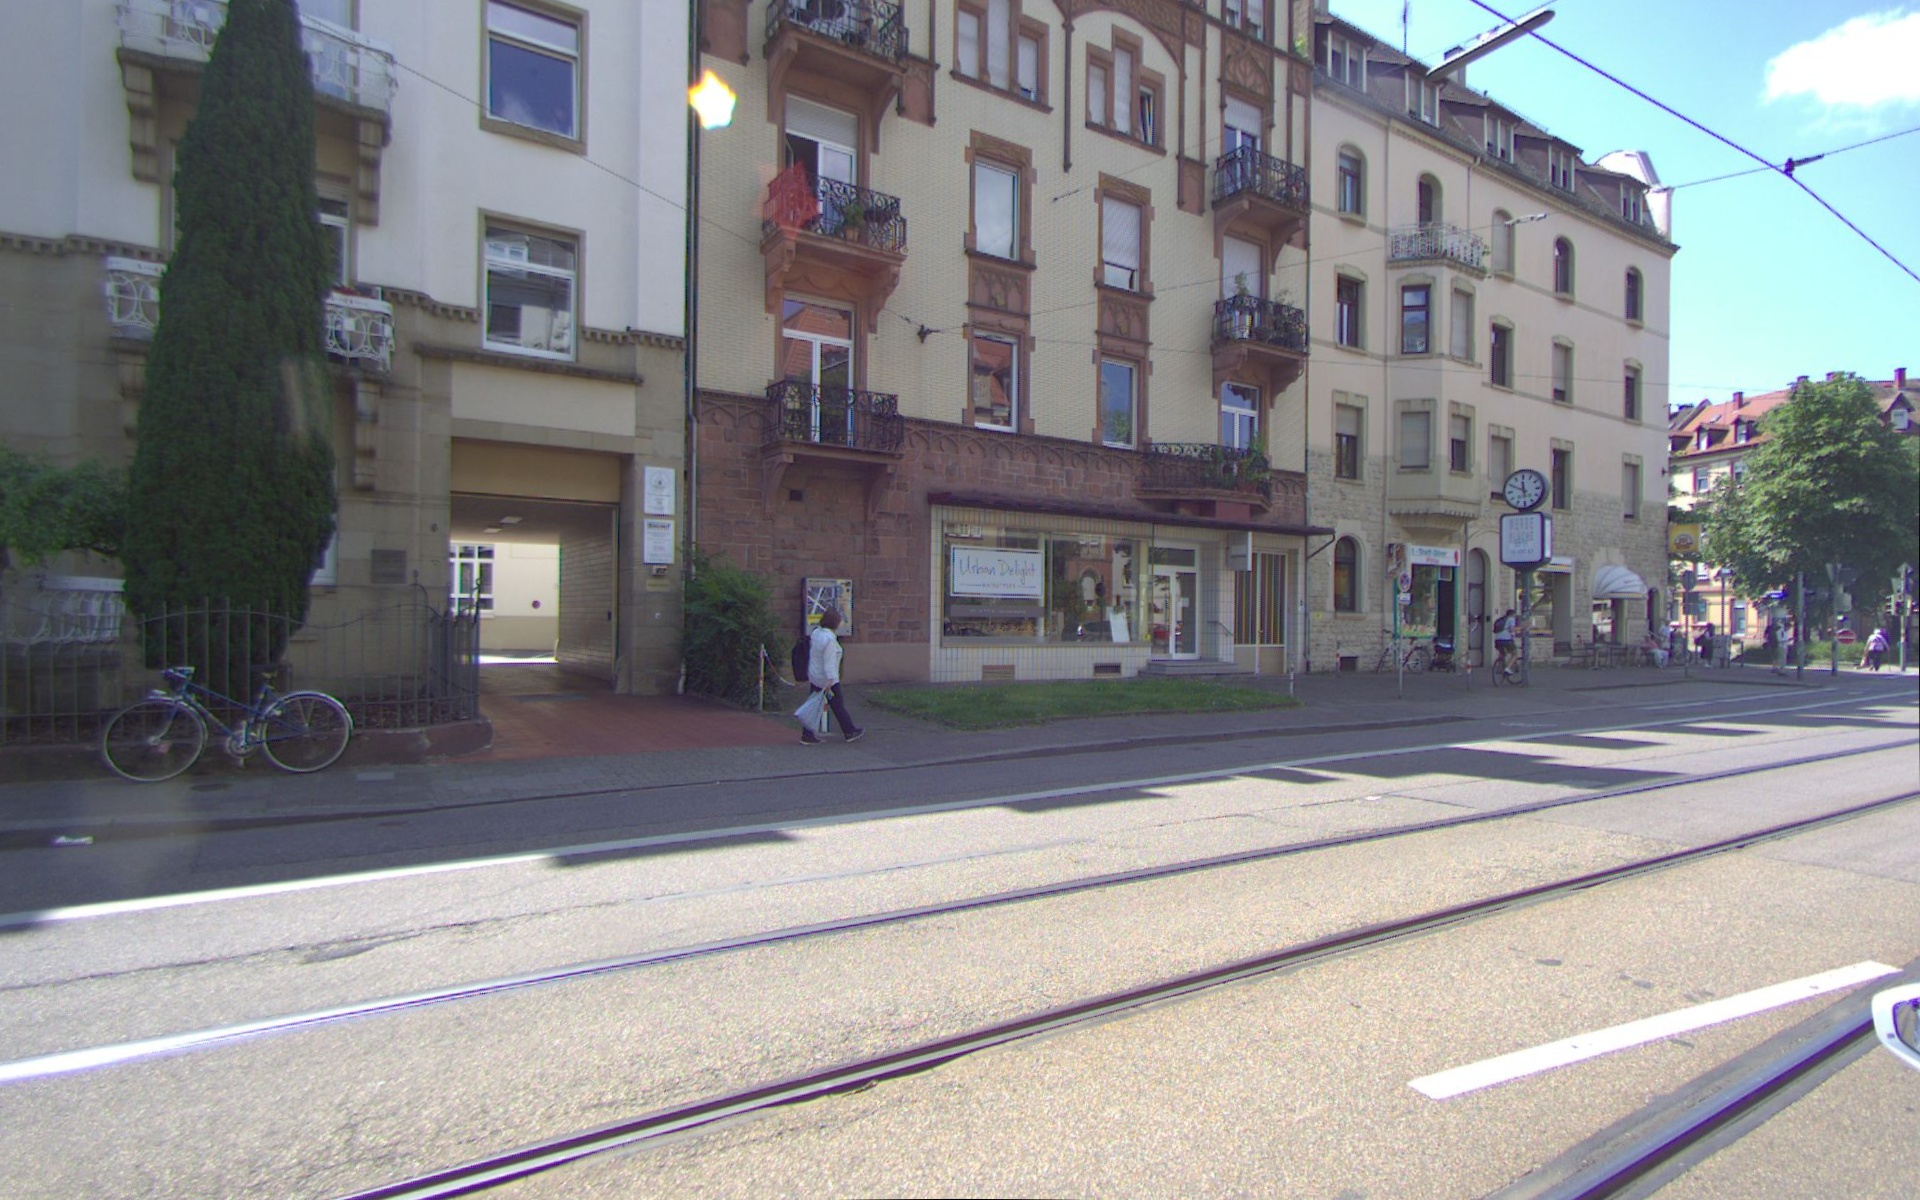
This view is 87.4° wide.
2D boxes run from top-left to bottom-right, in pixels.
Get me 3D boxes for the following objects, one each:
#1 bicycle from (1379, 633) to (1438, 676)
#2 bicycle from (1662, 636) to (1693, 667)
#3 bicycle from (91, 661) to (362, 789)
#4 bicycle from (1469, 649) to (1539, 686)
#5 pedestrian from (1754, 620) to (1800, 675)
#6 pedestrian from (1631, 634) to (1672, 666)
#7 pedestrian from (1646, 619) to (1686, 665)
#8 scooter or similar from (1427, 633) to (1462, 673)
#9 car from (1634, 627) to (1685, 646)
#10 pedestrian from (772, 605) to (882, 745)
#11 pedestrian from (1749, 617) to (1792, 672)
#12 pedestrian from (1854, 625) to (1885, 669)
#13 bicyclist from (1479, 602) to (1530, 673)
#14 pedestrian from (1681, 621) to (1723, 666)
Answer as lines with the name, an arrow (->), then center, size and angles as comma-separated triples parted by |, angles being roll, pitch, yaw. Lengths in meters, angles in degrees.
bicycle -> 12.072, 1.458, 27.033 | 1.438, 1.080, 0.370 | 2, 0, -9
bicycle -> 26.880, 1.931, 37.647 | 0.534, 1.143, 1.683 | 1, -3, 20
bicycle -> -6.224, 1.037, 8.638 | 1.822, 0.973, 0.408 | 2, 2, -33
bicycle -> 13.187, 1.616, 24.333 | 1.802, 0.828, 0.747 | 1, -1, -34
pedestrian -> 26.819, 1.552, 32.981 | 0.763, 1.756, 0.859 | 1, 0, -18
pedestrian -> 24.231, 1.755, 35.198 | 0.873, 1.092, 0.911 | 1, -1, -31
pedestrian -> 25.613, 1.518, 36.459 | 0.795, 1.616, 0.918 | 1, -1, -10
scooter or similar -> 13.635, 1.487, 28.306 | 0.682, 1.058, 1.210 | 2, 0, 17
car -> 58.727, 3.033, 84.419 | 1.654, 1.491, 3.467 | 1, -1, -7
pedestrian -> -1.567, 0.846, 11.833 | 0.975, 1.563, 0.894 | 1, -1, -36
pedestrian -> 28.898, 1.569, 35.819 | 1.152, 1.916, 0.895 | 1, -1, -33
pedestrian -> 36.964, 1.907, 40.808 | 0.907, 1.746, 0.835 | 0, -1, 45
bicyclist -> 13.158, 0.900, 24.292 | 0.822, 1.685, 0.751 | 2, 0, -34
pedestrian -> 27.753, 1.610, 37.581 | 0.846, 1.657, 1.026 | 1, -1, 2
